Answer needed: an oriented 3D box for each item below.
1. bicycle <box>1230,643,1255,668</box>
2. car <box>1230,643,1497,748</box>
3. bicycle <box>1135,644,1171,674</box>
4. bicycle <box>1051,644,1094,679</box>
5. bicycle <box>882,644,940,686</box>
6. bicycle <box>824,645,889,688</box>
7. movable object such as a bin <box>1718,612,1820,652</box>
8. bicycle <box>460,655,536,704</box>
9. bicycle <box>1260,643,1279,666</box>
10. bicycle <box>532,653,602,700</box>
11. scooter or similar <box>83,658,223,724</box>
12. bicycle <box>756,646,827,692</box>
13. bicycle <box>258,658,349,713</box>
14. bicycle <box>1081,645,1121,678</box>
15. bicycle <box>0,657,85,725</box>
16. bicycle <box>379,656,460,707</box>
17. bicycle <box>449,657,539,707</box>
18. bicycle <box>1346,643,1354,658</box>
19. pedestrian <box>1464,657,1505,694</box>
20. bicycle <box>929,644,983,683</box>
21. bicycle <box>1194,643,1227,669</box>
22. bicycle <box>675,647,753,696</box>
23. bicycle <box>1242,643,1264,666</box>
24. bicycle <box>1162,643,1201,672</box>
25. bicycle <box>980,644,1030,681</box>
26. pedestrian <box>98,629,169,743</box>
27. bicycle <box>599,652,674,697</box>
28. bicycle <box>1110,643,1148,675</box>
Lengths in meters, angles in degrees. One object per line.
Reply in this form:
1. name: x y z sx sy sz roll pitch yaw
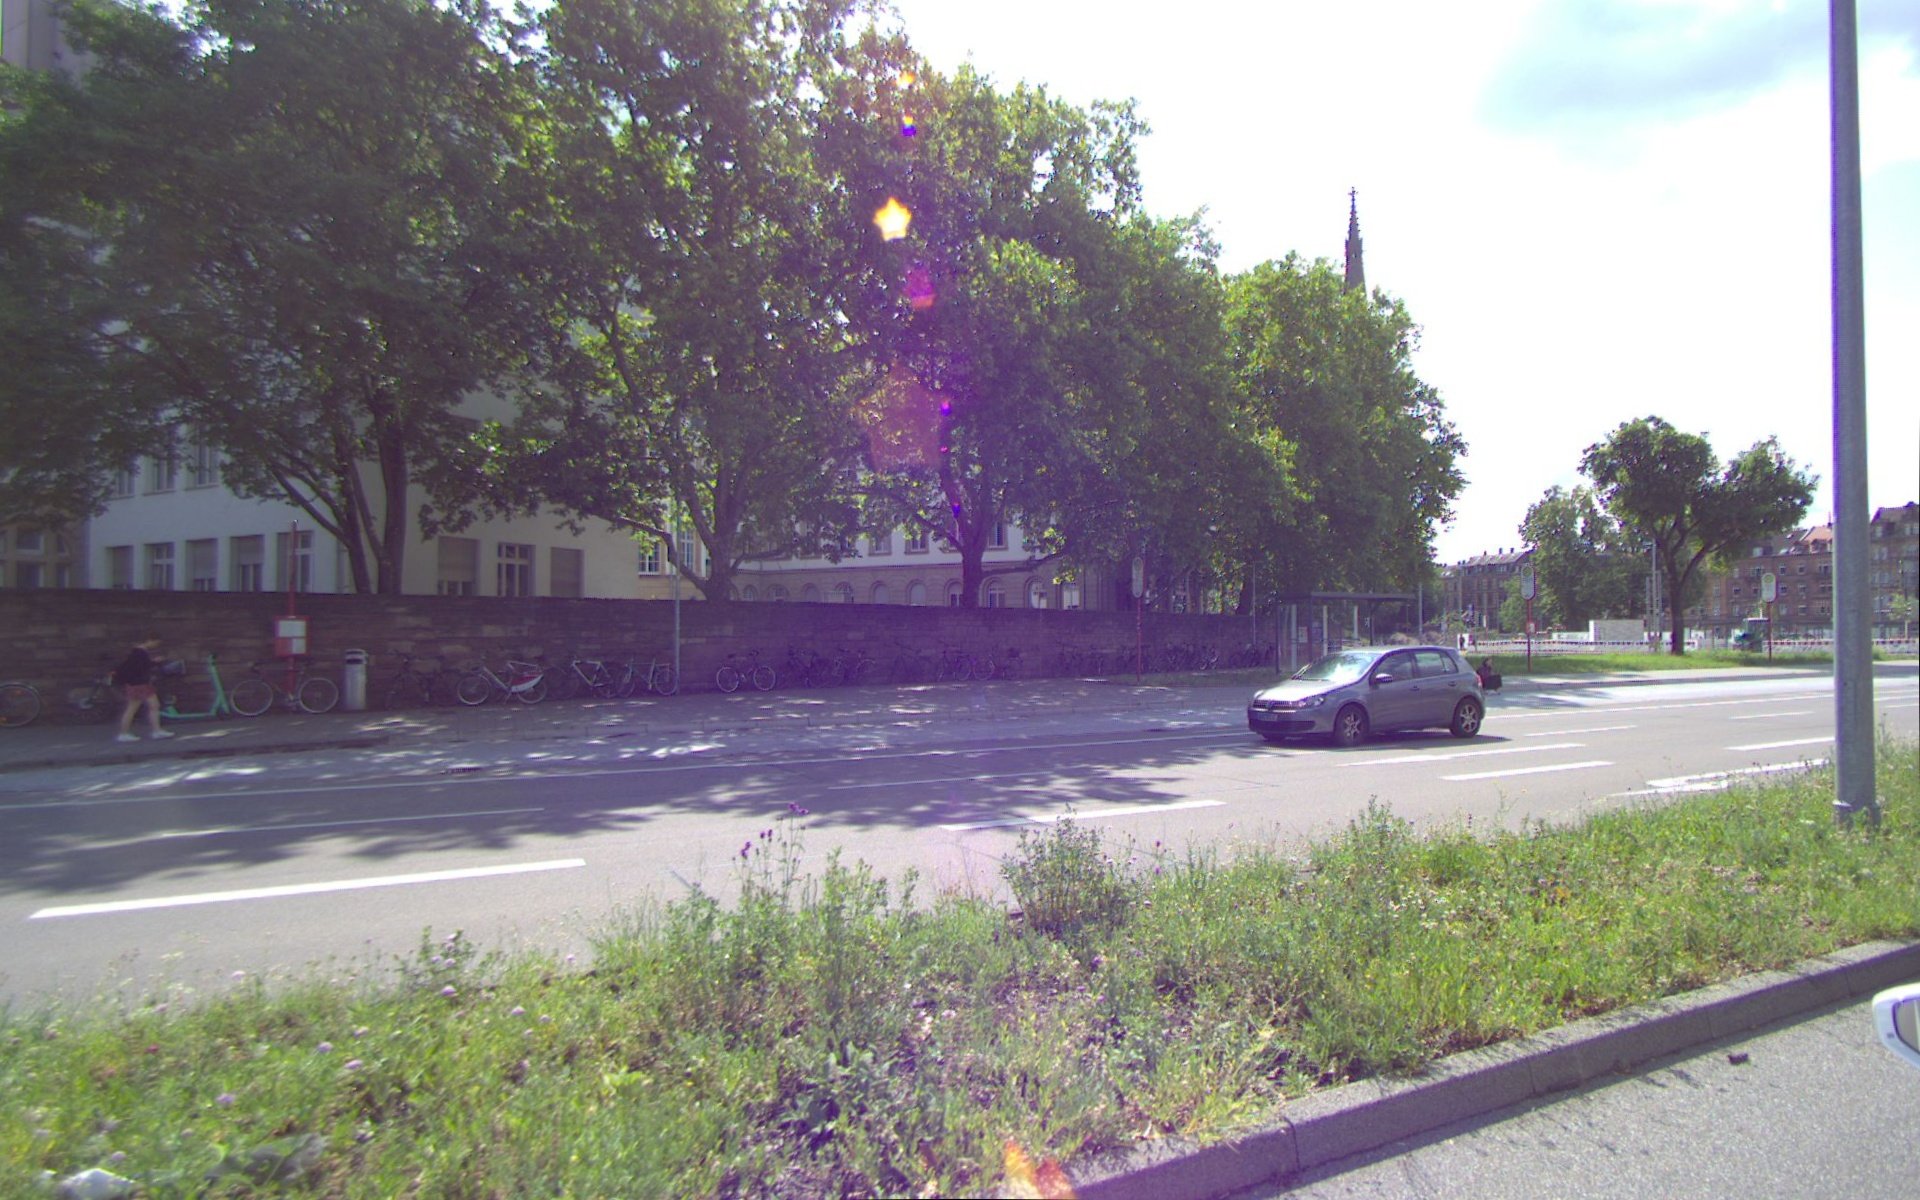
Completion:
1. bicycle: 12.391 2.421 44.009 0.465 1.024 1.448 -1 -2 42
2. car: 6.467 1.444 16.052 4.092 1.464 1.695 1 -3 -27
3. bicycle: 7.201 2.191 37.508 0.576 1.087 1.623 -1 -2 41
4. bicycle: 3.764 2.038 33.535 0.576 1.087 1.623 -1 -2 41
5. bicycle: -1.351 1.803 28.125 0.576 1.087 1.746 -1 -2 41
6. bicycle: -2.748 1.770 26.860 1.744 1.087 0.576 1 -2 -44
7. movable object such as a bin: 60.834 2.435 75.659 5.432 2.922 2.289 0 -2 18
8. bicycle: -9.647 1.640 20.989 1.392 0.968 0.363 1 -2 -43
9. bicycle: 14.448 2.540 46.941 0.348 1.024 1.248 -1 -2 42
10. bicycle: -8.562 1.653 21.918 1.392 0.968 0.363 1 -2 -43
11. scooter or similar: -14.013 1.562 17.513 1.863 1.062 0.576 1 -2 -36
12. bicycle: -4.254 1.732 25.393 1.743 1.087 0.577 1 -2 -43
13. bicycle: -12.307 1.584 18.850 1.392 0.968 0.363 1 -2 -43
14. bicycle: 4.904 2.108 34.774 0.576 1.087 1.623 -1 -2 41
15. bicycle: -15.539 1.483 16.372 1.863 1.062 0.576 1 -2 -36
16. bicycle: -10.798 1.617 20.094 1.392 0.968 0.363 1 -2 -43
17. bicycle: -9.377 1.642 20.259 1.599 0.968 0.366 0 -1 -18
18. bicycle: 27.313 3.545 70.417 0.386 1.005 1.523 0 -2 16
19. pedestrian: 14.391 2.066 27.567 0.733 0.975 0.691 1 -1 -28
20. bicycle: -0.099 1.844 29.397 0.576 1.087 1.746 -1 -2 41
21. bicycle: 10.314 2.298 41.315 0.465 1.024 1.953 -1 -2 42
22. bicycle: -5.847 1.680 23.923 1.743 1.087 0.577 1 -2 -43
23. bicycle: 13.256 2.459 45.373 0.386 1.024 1.362 -1 -2 42
24. bicycle: 8.638 2.212 39.113 1.857 1.087 0.576 1 -2 -44
25. bicycle: 1.393 1.910 30.950 0.576 1.087 1.746 -1 -2 41
26. pedestrian: -12.253 1.248 14.918 0.737 1.631 0.652 1 -1 -34
27. bicycle: -7.355 1.688 22.880 1.615 0.968 0.366 1 -2 -43
28. bicycle: 6.080 2.107 36.159 0.576 1.087 1.623 -1 -2 41
